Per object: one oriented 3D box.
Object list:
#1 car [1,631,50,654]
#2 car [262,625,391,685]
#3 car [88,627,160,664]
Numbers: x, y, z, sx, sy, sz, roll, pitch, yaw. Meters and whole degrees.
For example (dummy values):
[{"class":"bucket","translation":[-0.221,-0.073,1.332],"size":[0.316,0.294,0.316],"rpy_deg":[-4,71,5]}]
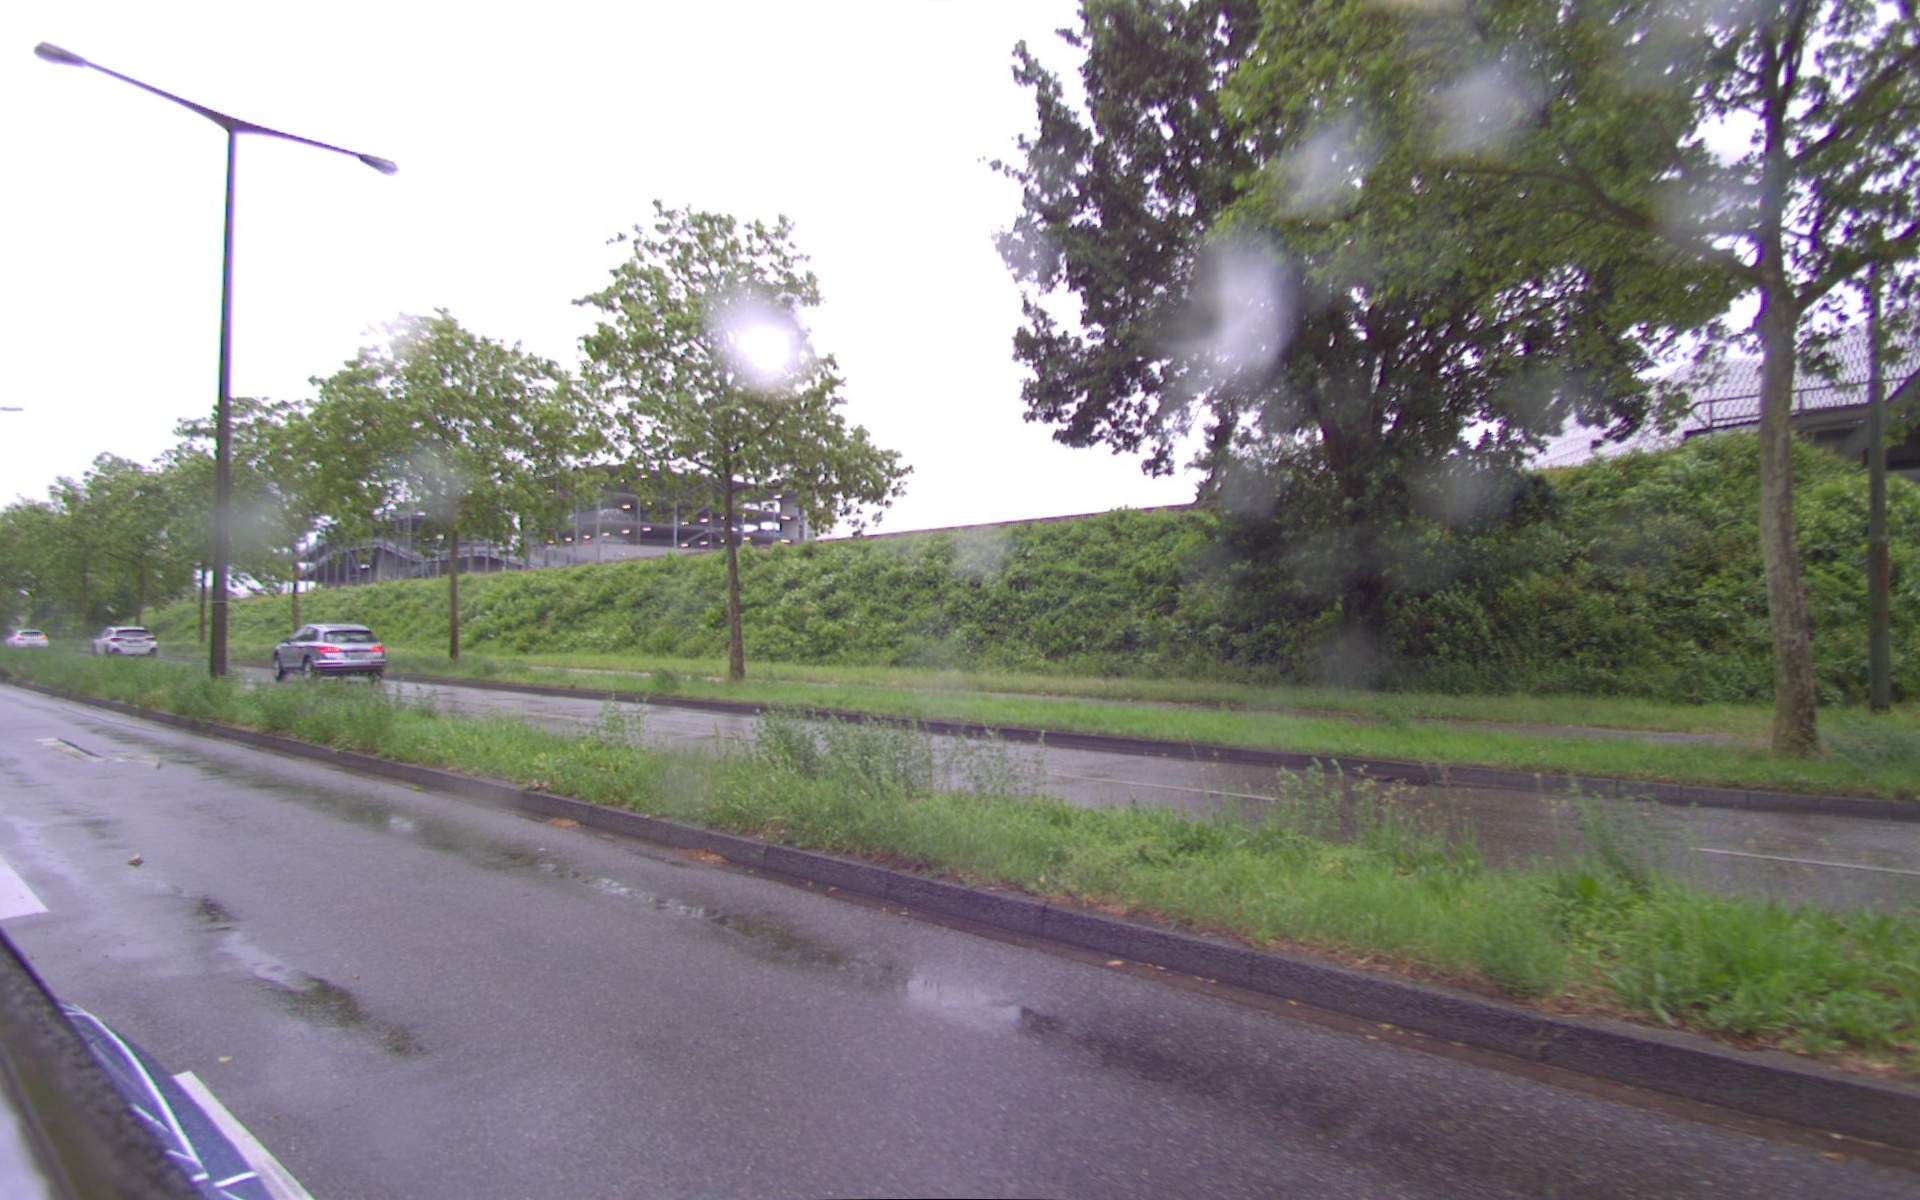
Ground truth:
[{"class":"car","translation":[-62.795,2.838,67.981],"size":[4.654,1.456,1.911],"rpy_deg":[-2,-2,41]},{"class":"car","translation":[-18.296,1.562,29.149],"size":[4.516,1.601,1.837],"rpy_deg":[-1,-4,41]},{"class":"car","translation":[-38.444,2.066,46.491],"size":[4.516,1.601,1.837],"rpy_deg":[-1,-3,41]}]
